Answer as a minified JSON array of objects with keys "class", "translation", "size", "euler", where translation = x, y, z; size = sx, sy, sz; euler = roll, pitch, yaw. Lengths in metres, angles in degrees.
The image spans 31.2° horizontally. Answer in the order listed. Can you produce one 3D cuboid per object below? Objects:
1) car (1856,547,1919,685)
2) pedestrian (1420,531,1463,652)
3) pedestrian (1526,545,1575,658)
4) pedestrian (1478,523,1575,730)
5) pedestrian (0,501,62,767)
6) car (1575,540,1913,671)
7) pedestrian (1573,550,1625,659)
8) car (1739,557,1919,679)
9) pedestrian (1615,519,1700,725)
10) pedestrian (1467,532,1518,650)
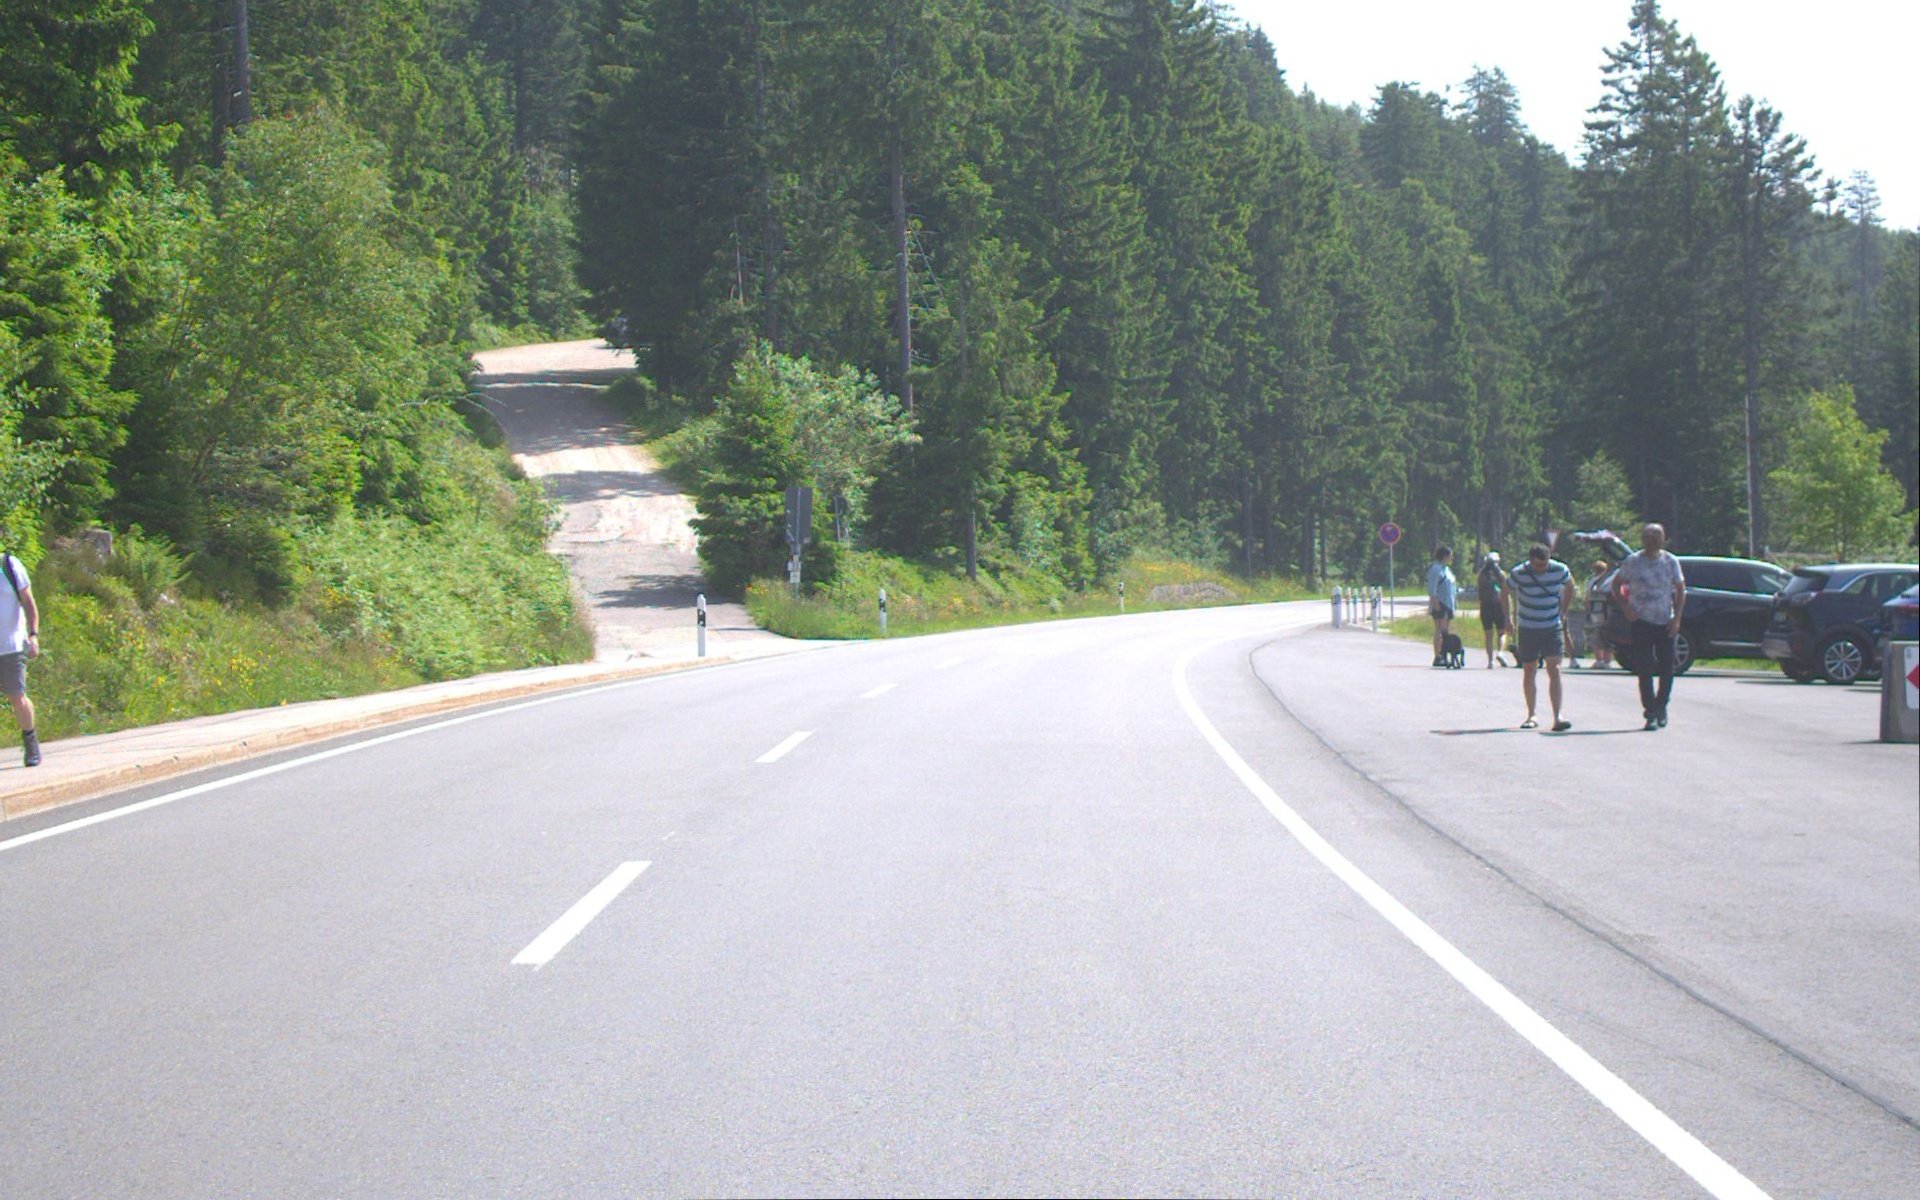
[{"class":"car","translation":[13.150,0.180,41.750],"size":[3.986,1.530,1.807],"euler":[0,4,-3]},{"class":"pedestrian","translation":[7.107,-0.131,50.705],"size":[0.617,1.769,0.723],"euler":[0,1,8]},{"class":"pedestrian","translation":[8.893,0.020,51.777],"size":[0.653,1.654,0.687],"euler":[-1,2,14]},{"class":"pedestrian","translation":[4.880,0.216,29.606],"size":[0.754,1.754,0.775],"euler":[0,1,14]},{"class":"pedestrian","translation":[-6.405,0.216,22.837],"size":[0.682,1.740,0.825],"euler":[0,1,-3]},{"class":"car","translation":[10.954,0.066,48.227],"size":[4.263,1.788,1.892],"euler":[0,1,-1]},{"class":"pedestrian","translation":[9.451,0.064,50.811],"size":[0.617,1.582,0.735],"euler":[-1,2,20]},{"class":"car","translation":[12.314,0.229,45.153],"size":[3.751,1.562,1.600],"euler":[0,1,-5]},{"class":"pedestrian","translation":[5.972,0.177,29.417],"size":[0.665,1.735,0.894],"euler":[0,1,14]},{"class":"pedestrian","translation":[7.674,-0.127,49.546],"size":[0.716,1.686,0.619],"euler":[0,1,8]}]
